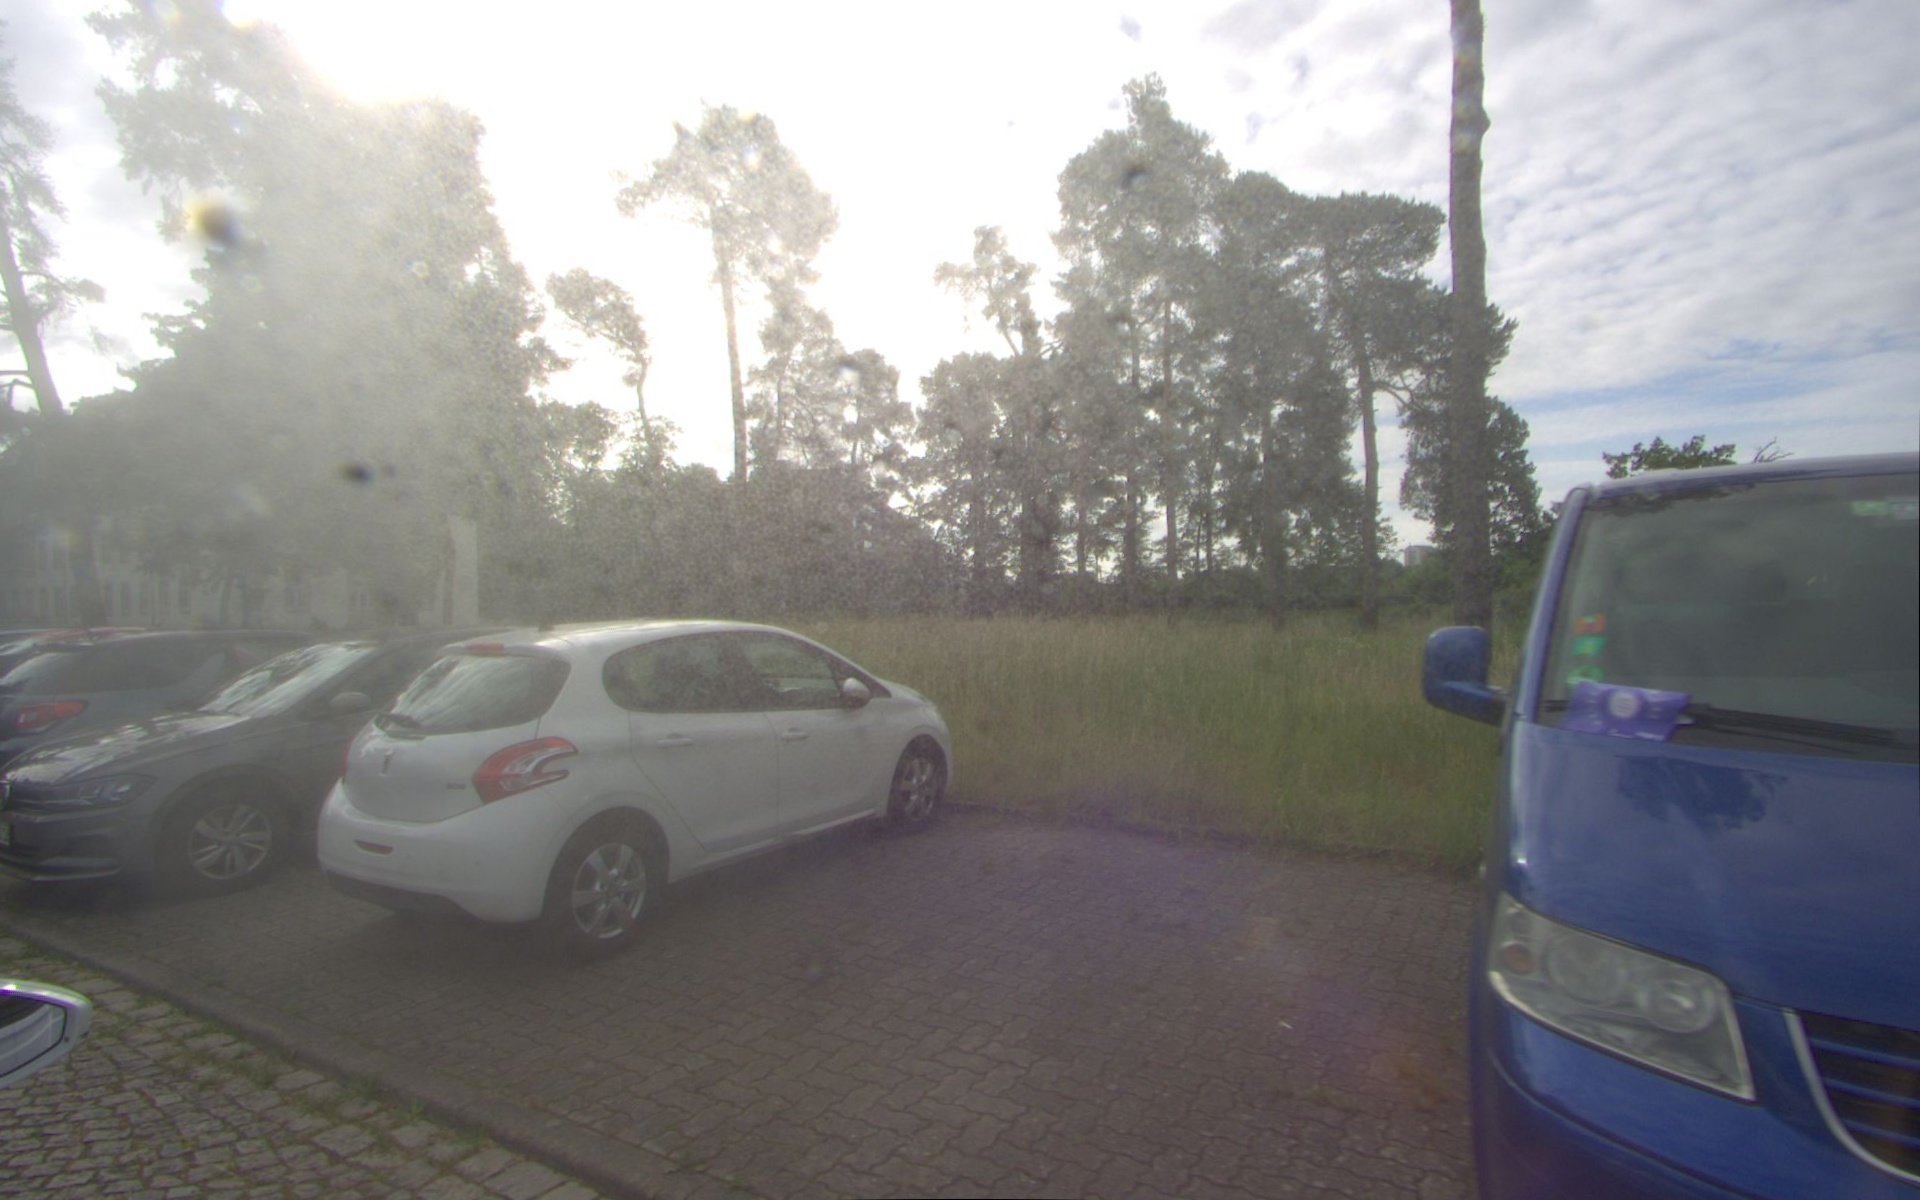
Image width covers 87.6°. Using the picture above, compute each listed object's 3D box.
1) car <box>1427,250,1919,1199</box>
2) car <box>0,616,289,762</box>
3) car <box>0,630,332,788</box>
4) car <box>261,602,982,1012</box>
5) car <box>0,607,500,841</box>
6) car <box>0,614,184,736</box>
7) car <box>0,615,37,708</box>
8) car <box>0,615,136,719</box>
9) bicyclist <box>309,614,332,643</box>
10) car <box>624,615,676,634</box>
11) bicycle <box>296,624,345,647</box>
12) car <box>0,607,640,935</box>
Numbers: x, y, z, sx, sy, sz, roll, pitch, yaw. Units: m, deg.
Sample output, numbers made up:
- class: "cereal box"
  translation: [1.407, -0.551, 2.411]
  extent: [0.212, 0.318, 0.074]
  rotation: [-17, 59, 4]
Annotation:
- class: "car"
  translation: [2.691, 0.527, 2.981]
  extent: [1.973, 1.972, 4.799]
  rotation: [-1, 1, 30]
- class: "car"
  translation: [-10.668, 0.997, 11.737]
  extent: [1.843, 1.436, 4.253]
  rotation: [-1, 1, 31]
- class: "car"
  translation: [-8.828, 1.031, 10.088]
  extent: [1.732, 1.253, 3.856]
  rotation: [-1, 1, 30]
- class: "car"
  translation: [-1.599, 0.825, 6.002]
  extent: [1.733, 1.492, 3.853]
  rotation: [-1, 1, 32]
- class: "car"
  translation: [-6.432, 0.880, 9.006]
  extent: [1.732, 1.492, 3.856]
  rotation: [-1, 1, 30]
- class: "car"
  translation: [-12.766, 0.979, 12.582]
  extent: [1.839, 1.436, 4.423]
  rotation: [-1, 1, 22]
- class: "car"
  translation: [-17.015, 1.056, 15.340]
  extent: [1.619, 1.497, 3.917]
  rotation: [-1, 1, 32]
- class: "car"
  translation: [-14.915, 1.022, 14.146]
  extent: [1.842, 1.436, 4.674]
  rotation: [-1, 1, 29]
- class: "bicyclist"
  translation: [-31.318, 1.398, 49.025]
  extent: [0.596, 1.429, 0.747]
  rotation: [0, 0, 33]
- class: "car"
  translation: [-25.548, 2.028, 82.648]
  extent: [1.627, 1.439, 3.941]
  rotation: [-1, -3, 33]
- class: "bicycle"
  translation: [-31.316, 1.732, 49.031]
  extent: [0.596, 1.037, 1.950]
  rotation: [0, 0, 33]
- class: "car"
  translation: [-4.324, 0.866, 7.016]
  extent: [1.730, 1.492, 3.858]
  rotation: [-1, 1, 27]
